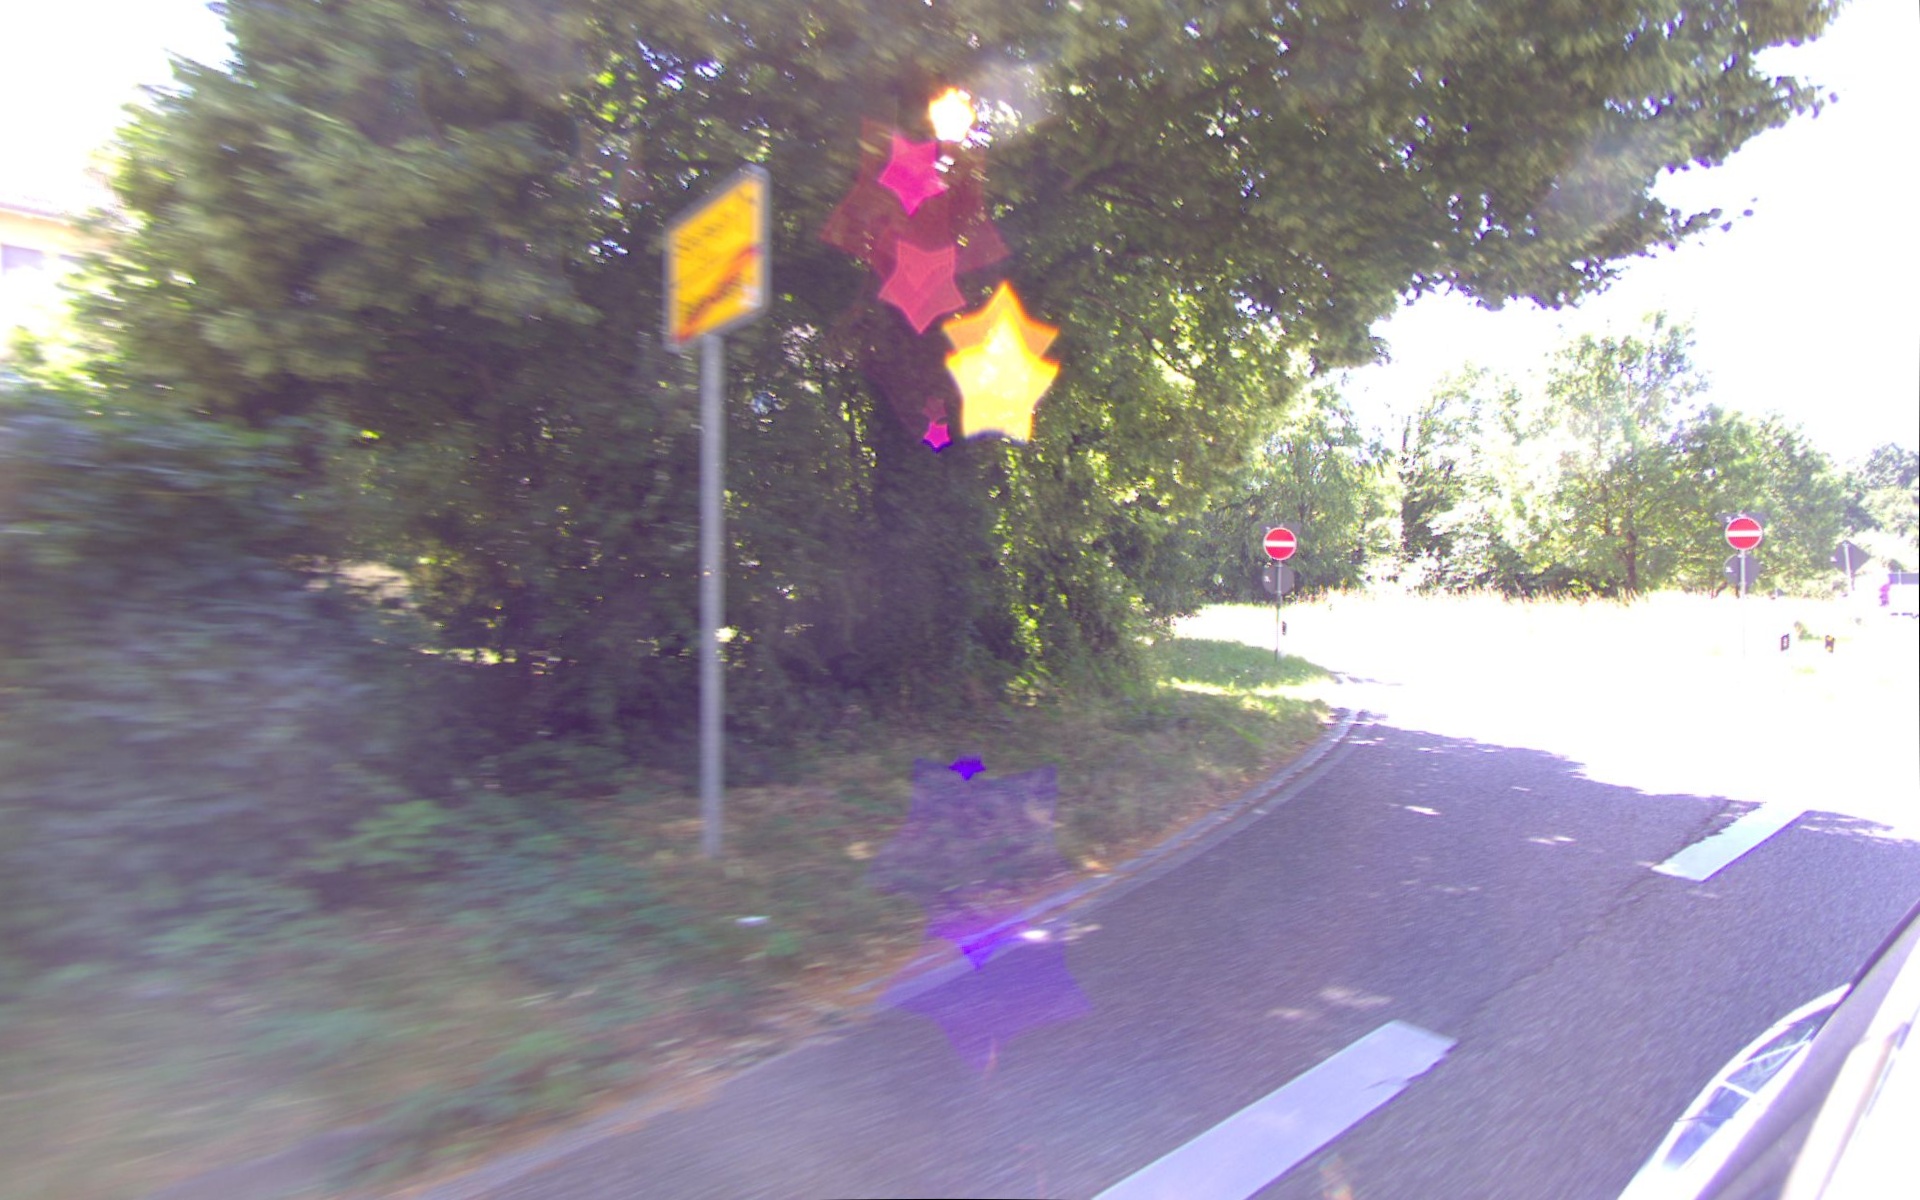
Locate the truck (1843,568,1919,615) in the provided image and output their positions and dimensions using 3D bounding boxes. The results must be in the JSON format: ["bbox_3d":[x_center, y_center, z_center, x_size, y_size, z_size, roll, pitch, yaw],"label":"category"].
[{"bbox_3d":[61.878,-0.554,66.088,6.831,2.980,2.463,0,1,-8],"label":"truck"}]
